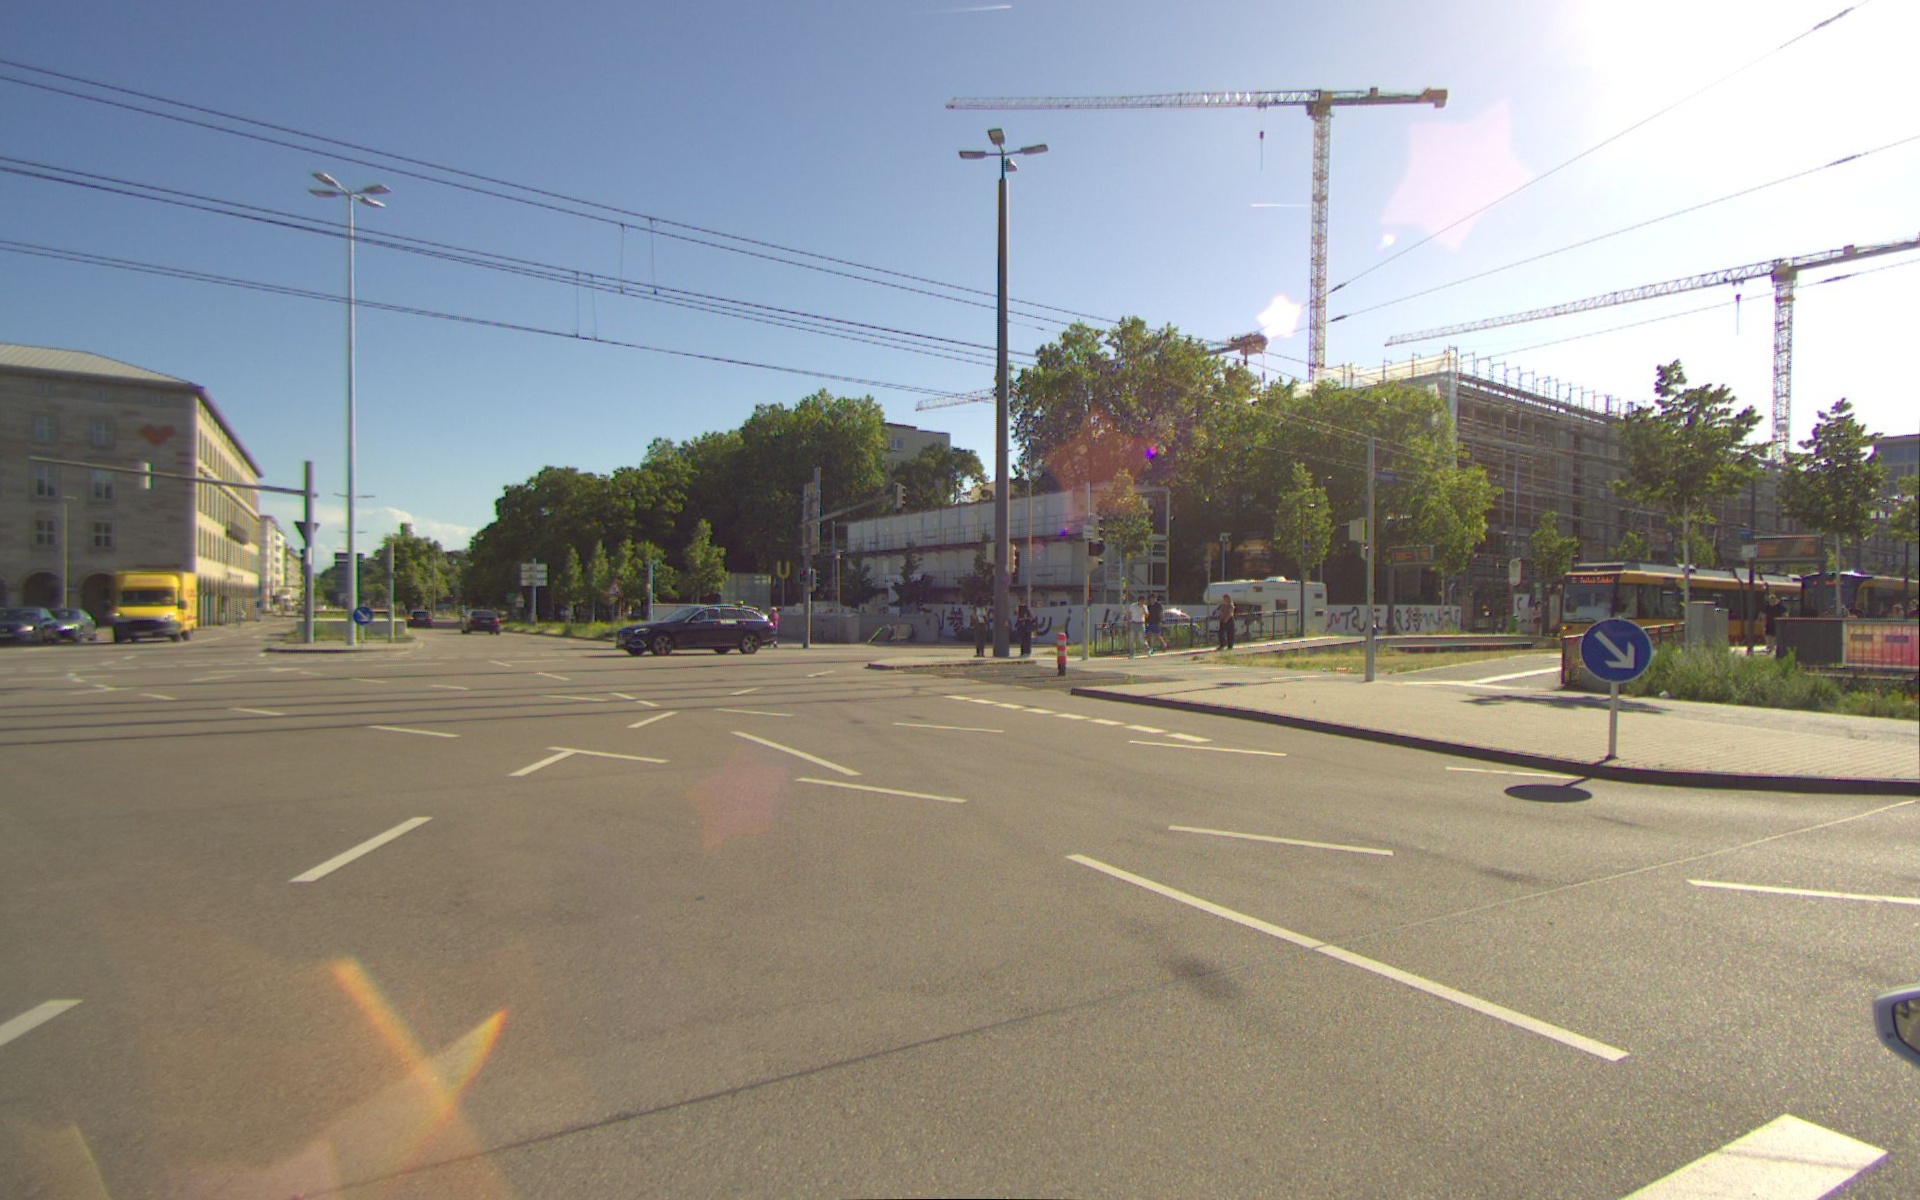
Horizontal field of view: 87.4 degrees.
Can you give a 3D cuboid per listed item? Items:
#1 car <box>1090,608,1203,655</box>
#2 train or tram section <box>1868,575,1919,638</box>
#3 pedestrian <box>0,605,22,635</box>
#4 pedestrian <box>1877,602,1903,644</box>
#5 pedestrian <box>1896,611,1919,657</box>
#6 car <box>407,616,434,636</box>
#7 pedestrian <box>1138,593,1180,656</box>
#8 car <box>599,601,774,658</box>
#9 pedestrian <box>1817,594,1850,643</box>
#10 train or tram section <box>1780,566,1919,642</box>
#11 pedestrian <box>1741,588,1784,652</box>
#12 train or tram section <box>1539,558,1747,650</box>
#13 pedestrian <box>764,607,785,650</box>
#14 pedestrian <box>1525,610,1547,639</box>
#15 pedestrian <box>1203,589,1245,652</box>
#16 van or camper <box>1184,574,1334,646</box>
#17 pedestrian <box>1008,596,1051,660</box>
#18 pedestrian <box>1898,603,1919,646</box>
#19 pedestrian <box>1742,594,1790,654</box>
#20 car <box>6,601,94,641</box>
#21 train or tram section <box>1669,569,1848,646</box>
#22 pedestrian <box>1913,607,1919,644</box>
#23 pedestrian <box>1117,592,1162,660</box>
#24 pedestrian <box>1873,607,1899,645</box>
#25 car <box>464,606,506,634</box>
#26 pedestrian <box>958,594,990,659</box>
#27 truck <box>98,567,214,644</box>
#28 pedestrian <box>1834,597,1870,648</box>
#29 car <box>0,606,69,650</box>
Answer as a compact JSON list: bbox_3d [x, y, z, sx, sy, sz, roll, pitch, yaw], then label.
[{"bbox_3d":[7.317,1.191,39.215,4.327,1.730,1.931,1,0,-37],"label":"car"},{"bbox_3d":[59.849,0.506,60.767,21.929,3.324,2.850,1,2,-36],"label":"train or tram section"},{"bbox_3d":[-57.318,1.203,60.547,0.938,1.708,1.184,-1,2,-34],"label":"pedestrian"},{"bbox_3d":[41.015,1.025,44.296,1.064,1.835,0.667,1,0,-37],"label":"pedestrian"},{"bbox_3d":[35.069,1.246,36.956,0.853,1.650,0.737,1,0,-35],"label":"pedestrian"},{"bbox_3d":[-46.170,2.186,85.887,1.976,1.623,3.968,1,0,-30],"label":"car"},{"bbox_3d":[5.944,0.712,30.077,0.967,1.847,0.794,0,0,-38],"label":"pedestrian"},{"bbox_3d":[-8.174,0.858,30.352,1.973,1.582,4.800,0,0,44],"label":"car"},{"bbox_3d":[33.343,0.696,38.346,0.819,1.799,0.755,0,2,-38],"label":"pedestrian"},{"bbox_3d":[44.939,0.238,49.818,15.038,3.324,2.850,1,2,-36],"label":"train or tram section"},{"bbox_3d":[23.005,0.562,28.794,0.951,1.799,0.697,0,2,-39],"label":"pedestrian"},{"bbox_3d":[28.426,0.183,41.397,12.946,3.354,2.850,1,2,-36],"label":"train or tram section"},{"bbox_3d":[-7.985,1.219,43.181,0.686,1.847,0.596,0,0,17],"label":"pedestrian"},{"bbox_3d":[25.489,1.065,44.435,0.501,1.242,0.666,1,1,-38],"label":"pedestrian"},{"bbox_3d":[7.871,0.608,29.979,0.967,1.847,0.794,0,0,-38],"label":"pedestrian"},{"bbox_3d":[13.304,0.446,44.381,7.274,2.976,2.586,1,0,-37],"label":"van or camper"},{"bbox_3d":[2.049,0.798,29.527,0.967,1.847,0.794,0,0,-38],"label":"pedestrian"},{"bbox_3d":[41.362,1.042,43.615,1.021,1.835,0.764,1,0,-36],"label":"pedestrian"},{"bbox_3d":[25.112,0.726,31.299,1.178,1.799,0.867,0,2,-39],"label":"pedestrian"},{"bbox_3d":[-37.929,0.846,41.986,1.881,1.559,3.968,1,0,-30],"label":"car"},{"bbox_3d":[40.009,0.396,49.927,15.811,3.366,2.828,1,1,-36],"label":"train or tram section"},{"bbox_3d":[45.196,1.200,46.988,0.853,1.717,0.737,1,0,-35],"label":"pedestrian"},{"bbox_3d":[4.994,0.713,27.939,0.967,1.847,0.794,0,0,-38],"label":"pedestrian"},{"bbox_3d":[37.656,1.053,40.838,0.583,1.533,0.642,0,2,-38],"label":"pedestrian"},{"bbox_3d":[-28.784,1.187,60.804,1.976,1.623,3.968,1,0,-30],"label":"car"},{"bbox_3d":[0.404,0.752,28.851,0.865,1.847,0.802,0,0,-3],"label":"pedestrian"},{"bbox_3d":[-32.760,0.207,41.238,2.433,2.830,7.971,1,0,-29],"label":"truck"},{"bbox_3d":[32.286,0.788,36.361,0.970,1.799,0.784,0,2,-38],"label":"pedestrian"},{"bbox_3d":[-35.099,1.011,37.541,1.881,1.559,3.968,1,0,-30],"label":"car"}]
